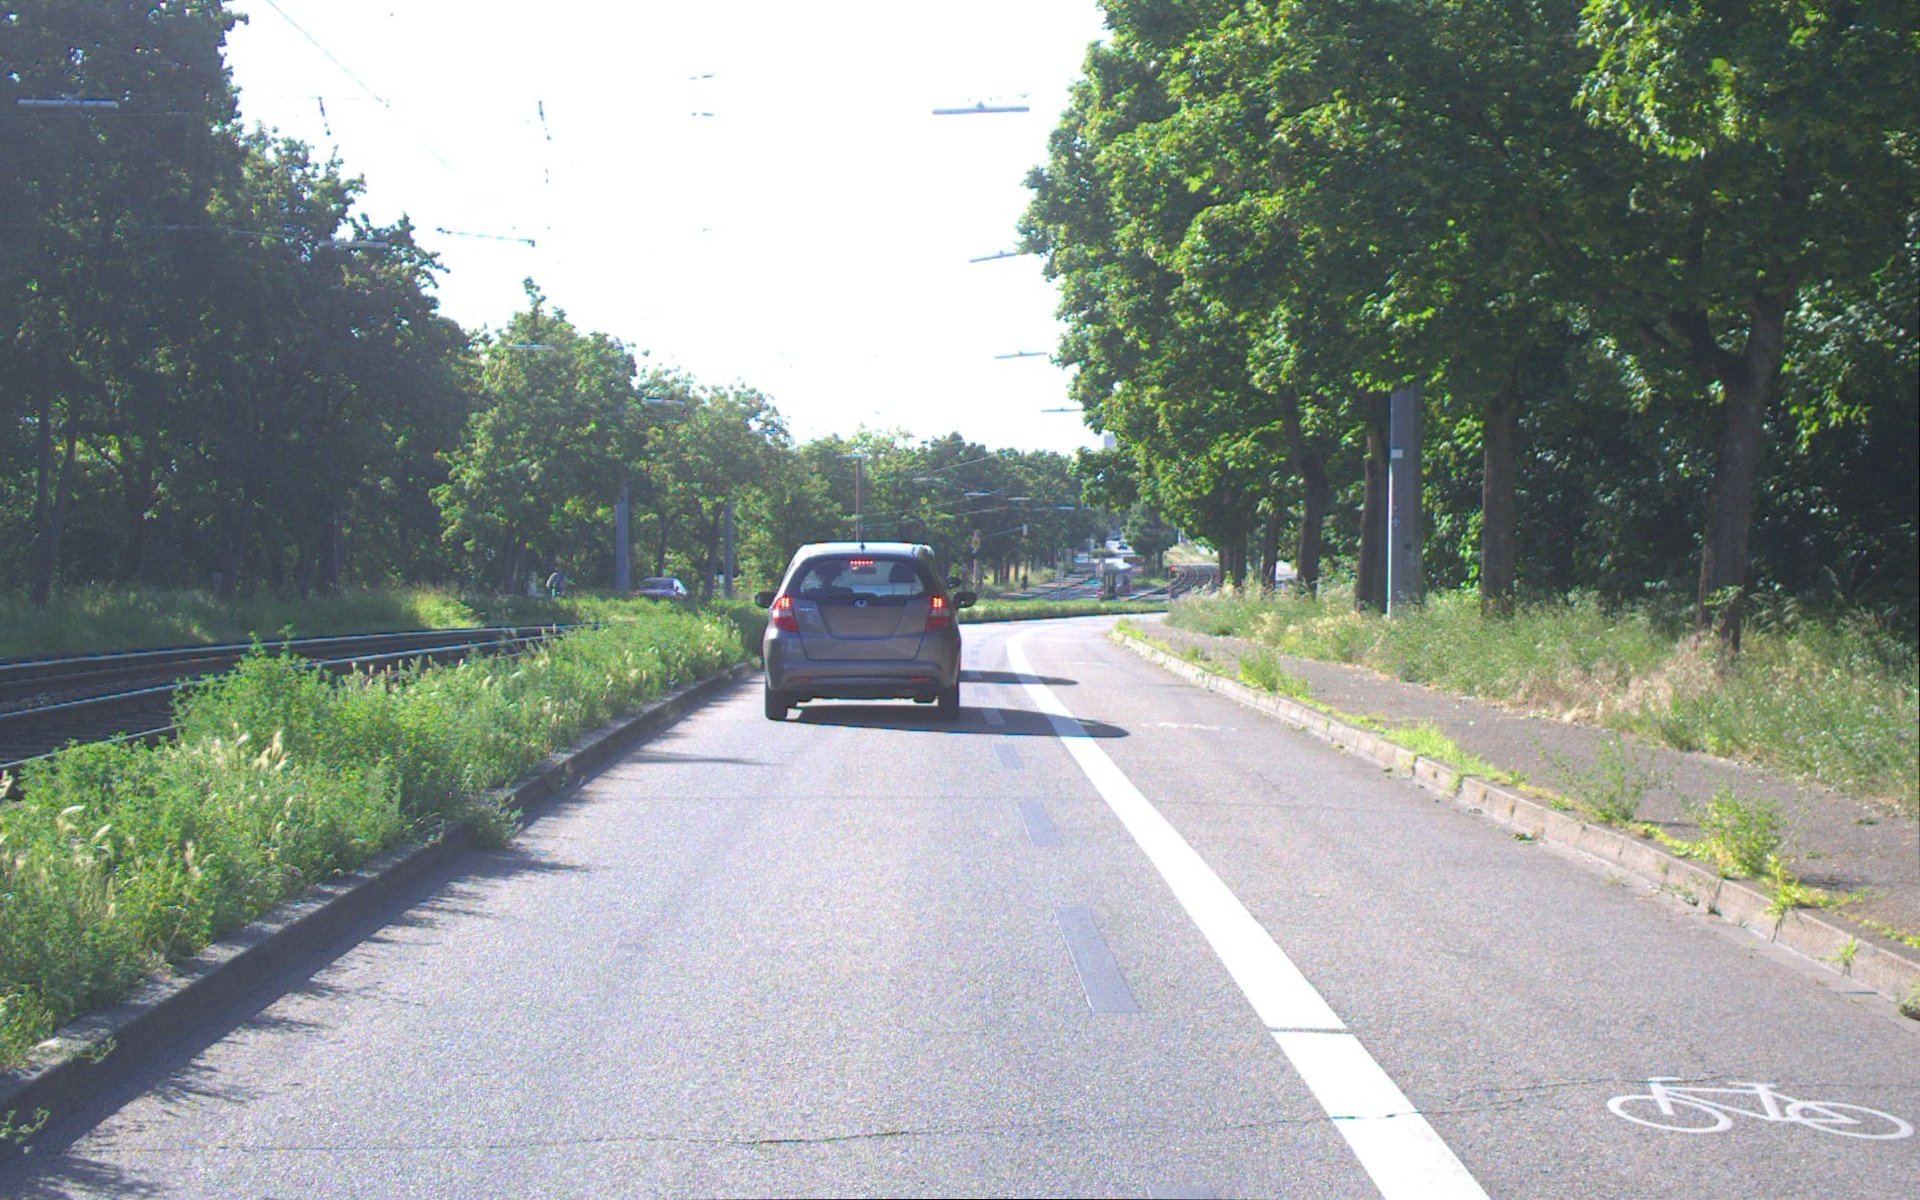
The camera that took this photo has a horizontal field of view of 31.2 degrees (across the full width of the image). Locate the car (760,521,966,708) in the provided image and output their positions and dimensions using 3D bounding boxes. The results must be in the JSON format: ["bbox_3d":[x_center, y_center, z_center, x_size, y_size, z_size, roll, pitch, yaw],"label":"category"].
[{"bbox_3d":[-0.805,0.082,30.499,1.670,1.502,3.811,2,1,0],"label":"car"}]

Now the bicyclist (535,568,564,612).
[{"bbox_3d":[-14.531,-0.346,121.717,0.790,1.484,1.109,2,3,2],"label":"bicyclist"}]

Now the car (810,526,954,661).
[{"bbox_3d":[-0.928,-0.118,42.552,1.654,1.502,3.811,2,2,0],"label":"car"}]

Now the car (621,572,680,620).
[{"bbox_3d":[-13.486,-0.193,150.122,1.994,1.869,4.000,2,3,3],"label":"car"}]

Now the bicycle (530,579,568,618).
[{"bbox_3d":[-14.539,-0.065,121.633,0.789,1.191,3.169,2,3,3],"label":"bicycle"}]
